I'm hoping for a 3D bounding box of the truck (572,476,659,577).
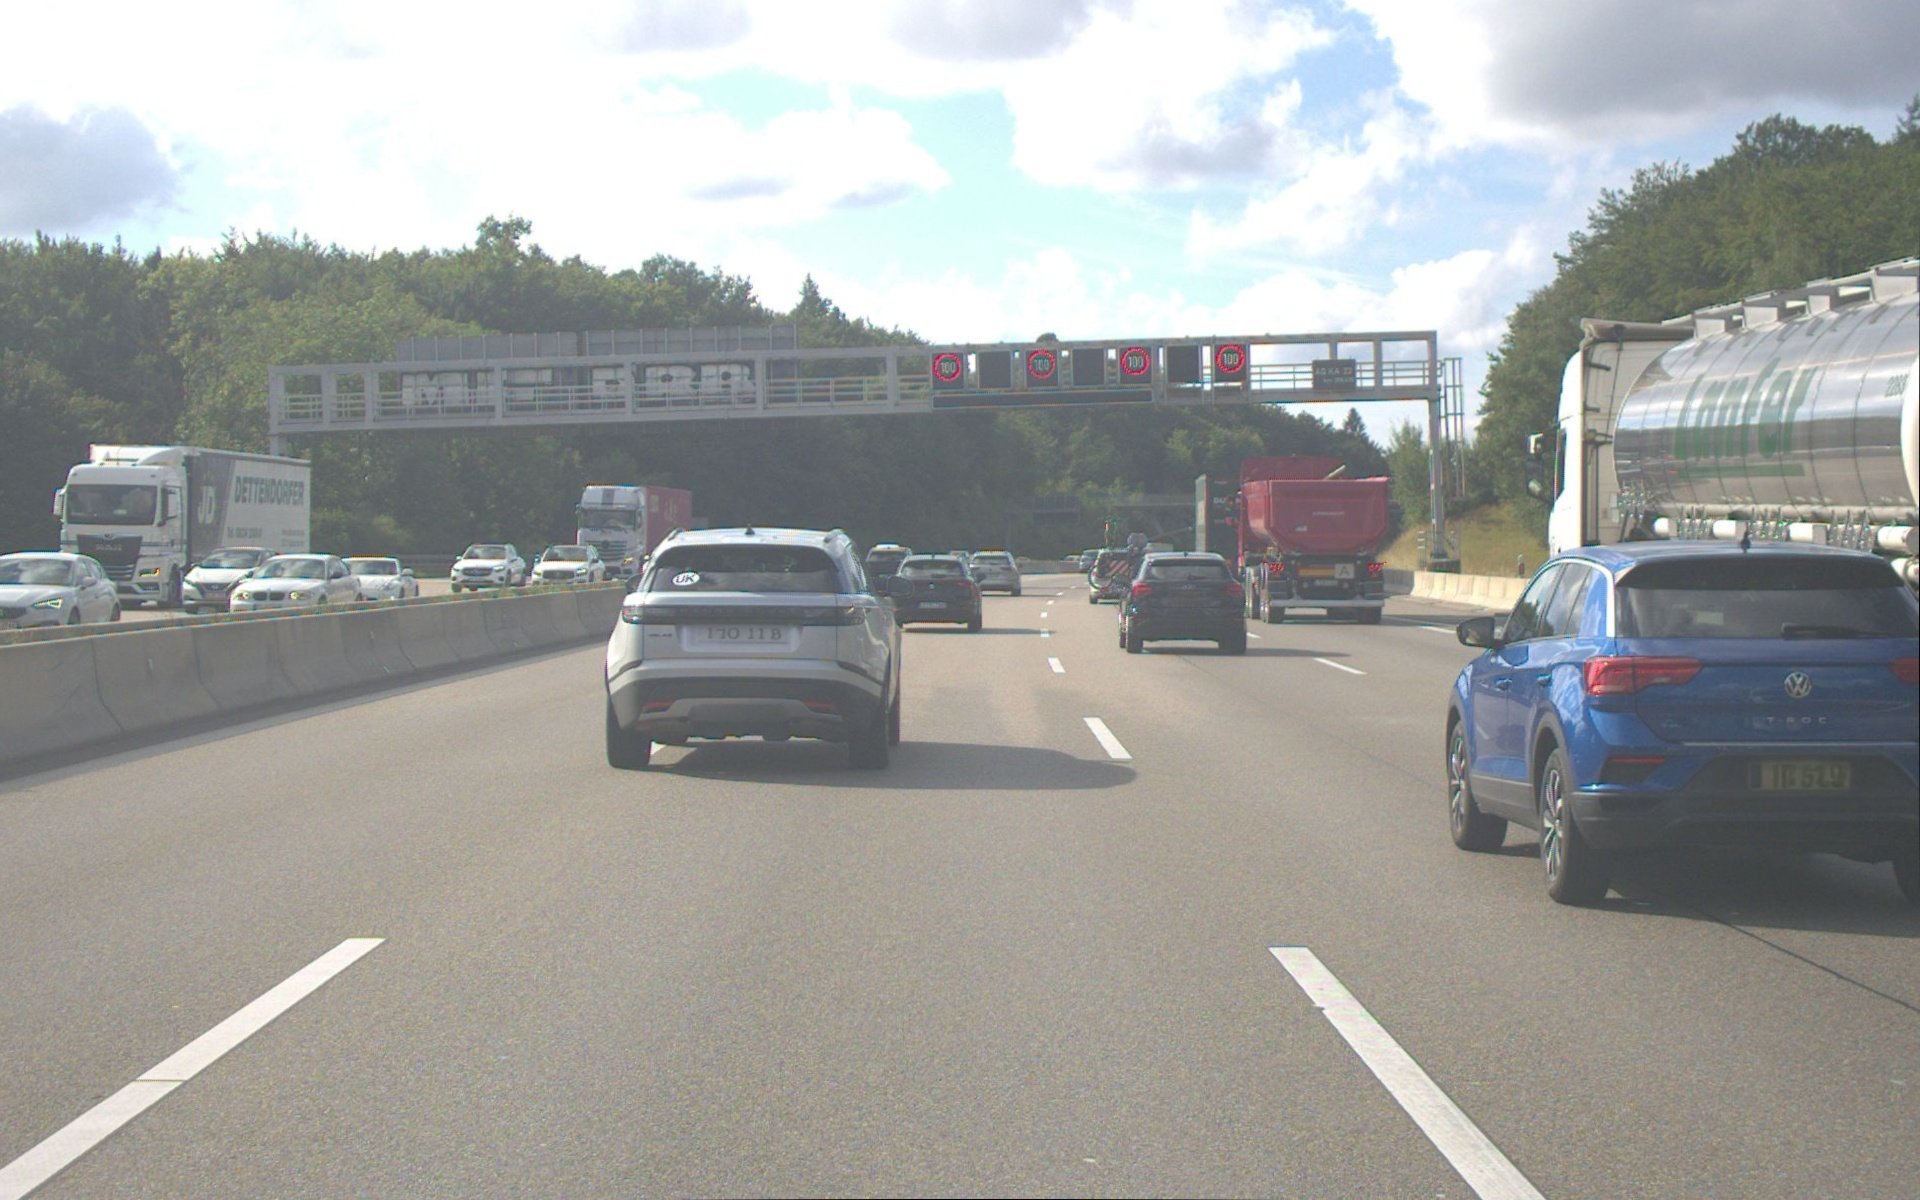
[{"bbox_3d":[-14.189,-3.016,142.049,2.739,4.092,5.764,0,1,3],"label":"truck"}]

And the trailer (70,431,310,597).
[{"bbox_3d":[-20.419,-2.239,92.259,3.317,4.092,14.156,0,1,0],"label":"trailer"}]

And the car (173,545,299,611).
[{"bbox_3d":[-16.664,-0.529,79.294,1.811,1.448,4.801,0,1,1],"label":"car"}]

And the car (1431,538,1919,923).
[{"bbox_3d":[3.380,0.484,15.905,1.773,1.525,4.458,0,1,0],"label":"car"}]

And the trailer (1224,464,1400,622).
[{"bbox_3d":[7.611,-1.290,75.541,2.710,3.220,9.733,0,1,-1],"label":"trailer"}]

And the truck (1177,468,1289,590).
[{"bbox_3d":[9.106,-2.370,115.838,3.118,3.921,10.411,0,1,1],"label":"truck"}]

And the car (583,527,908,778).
[{"bbox_3d":[-1.439,0.294,25.016,2.006,1.611,5.301,1,1,0],"label":"car"}]

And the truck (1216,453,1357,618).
[{"bbox_3d":[7.594,-1.518,80.554,2.710,3.706,5.818,1,1,0],"label":"truck"}]

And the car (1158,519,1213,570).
[{"bbox_3d":[8.445,-2.086,129.039,1.894,1.850,4.100,1,1,2],"label":"car"}]

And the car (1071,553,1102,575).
[{"bbox_3d":[8.892,-2.555,240.806,2.077,1.452,4.000,-1,1,3],"label":"car"}]

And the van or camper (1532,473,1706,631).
[{"bbox_3d":[10.001,-0.741,52.512,1.822,2.299,4.939,0,1,1],"label":"van or camper"}]

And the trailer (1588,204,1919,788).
[{"bbox_3d":[7.434,-0.785,28.027,2.649,3.754,11.860,0,1,1],"label":"trailer"}]

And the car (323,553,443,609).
[{"bbox_3d":[-12.611,-0.440,75.345,1.811,1.157,4.515,0,1,1],"label":"car"}]

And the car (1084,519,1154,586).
[{"bbox_3d":[4.490,-1.352,97.422,1.894,1.850,4.100,1,1,2],"label":"car"}]

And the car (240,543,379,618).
[{"bbox_3d":[-12.530,-0.399,66.447,1.681,1.392,4.715,0,1,1],"label":"car"}]

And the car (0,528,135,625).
[{"bbox_3d":[-13.871,-0.383,51.977,1.769,1.389,4.691,0,1,-1],"label":"car"}]

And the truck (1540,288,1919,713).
[{"bbox_3d":[7.539,-0.950,34.021,2.649,3.810,6.082,0,1,1],"label":"truck"}]

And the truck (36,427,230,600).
[{"bbox_3d":[-20.393,-2.115,85.165,3.317,4.092,6.225,0,1,0],"label":"truck"}]

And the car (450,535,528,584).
[{"bbox_3d":[-15.857,-1.369,115.875,1.794,1.612,5.045,0,1,2],"label":"car"}]

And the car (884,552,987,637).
[{"bbox_3d":[-0.438,-0.122,65.237,1.822,1.541,4.000,0,1,1],"label":"car"}]

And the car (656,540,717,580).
[{"bbox_3d":[-10.527,-1.556,132.582,1.857,1.520,4.995,0,1,1],"label":"car"}]

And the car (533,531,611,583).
[{"bbox_3d":[-12.233,-1.372,108.668,1.708,1.588,4.943,0,1,3],"label":"car"}]

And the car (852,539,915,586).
[{"bbox_3d":[-2.500,-1.245,113.215,1.942,1.452,4.000,-1,1,0],"label":"car"}]

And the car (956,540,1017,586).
[{"bbox_3d":[0.885,-1.213,112.556,1.822,1.452,4.000,1,0,3],"label":"car"}]

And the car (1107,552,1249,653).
[{"bbox_3d":[3.248,0.003,51.934,1.822,1.452,4.000,0,1,-1],"label":"car"}]
